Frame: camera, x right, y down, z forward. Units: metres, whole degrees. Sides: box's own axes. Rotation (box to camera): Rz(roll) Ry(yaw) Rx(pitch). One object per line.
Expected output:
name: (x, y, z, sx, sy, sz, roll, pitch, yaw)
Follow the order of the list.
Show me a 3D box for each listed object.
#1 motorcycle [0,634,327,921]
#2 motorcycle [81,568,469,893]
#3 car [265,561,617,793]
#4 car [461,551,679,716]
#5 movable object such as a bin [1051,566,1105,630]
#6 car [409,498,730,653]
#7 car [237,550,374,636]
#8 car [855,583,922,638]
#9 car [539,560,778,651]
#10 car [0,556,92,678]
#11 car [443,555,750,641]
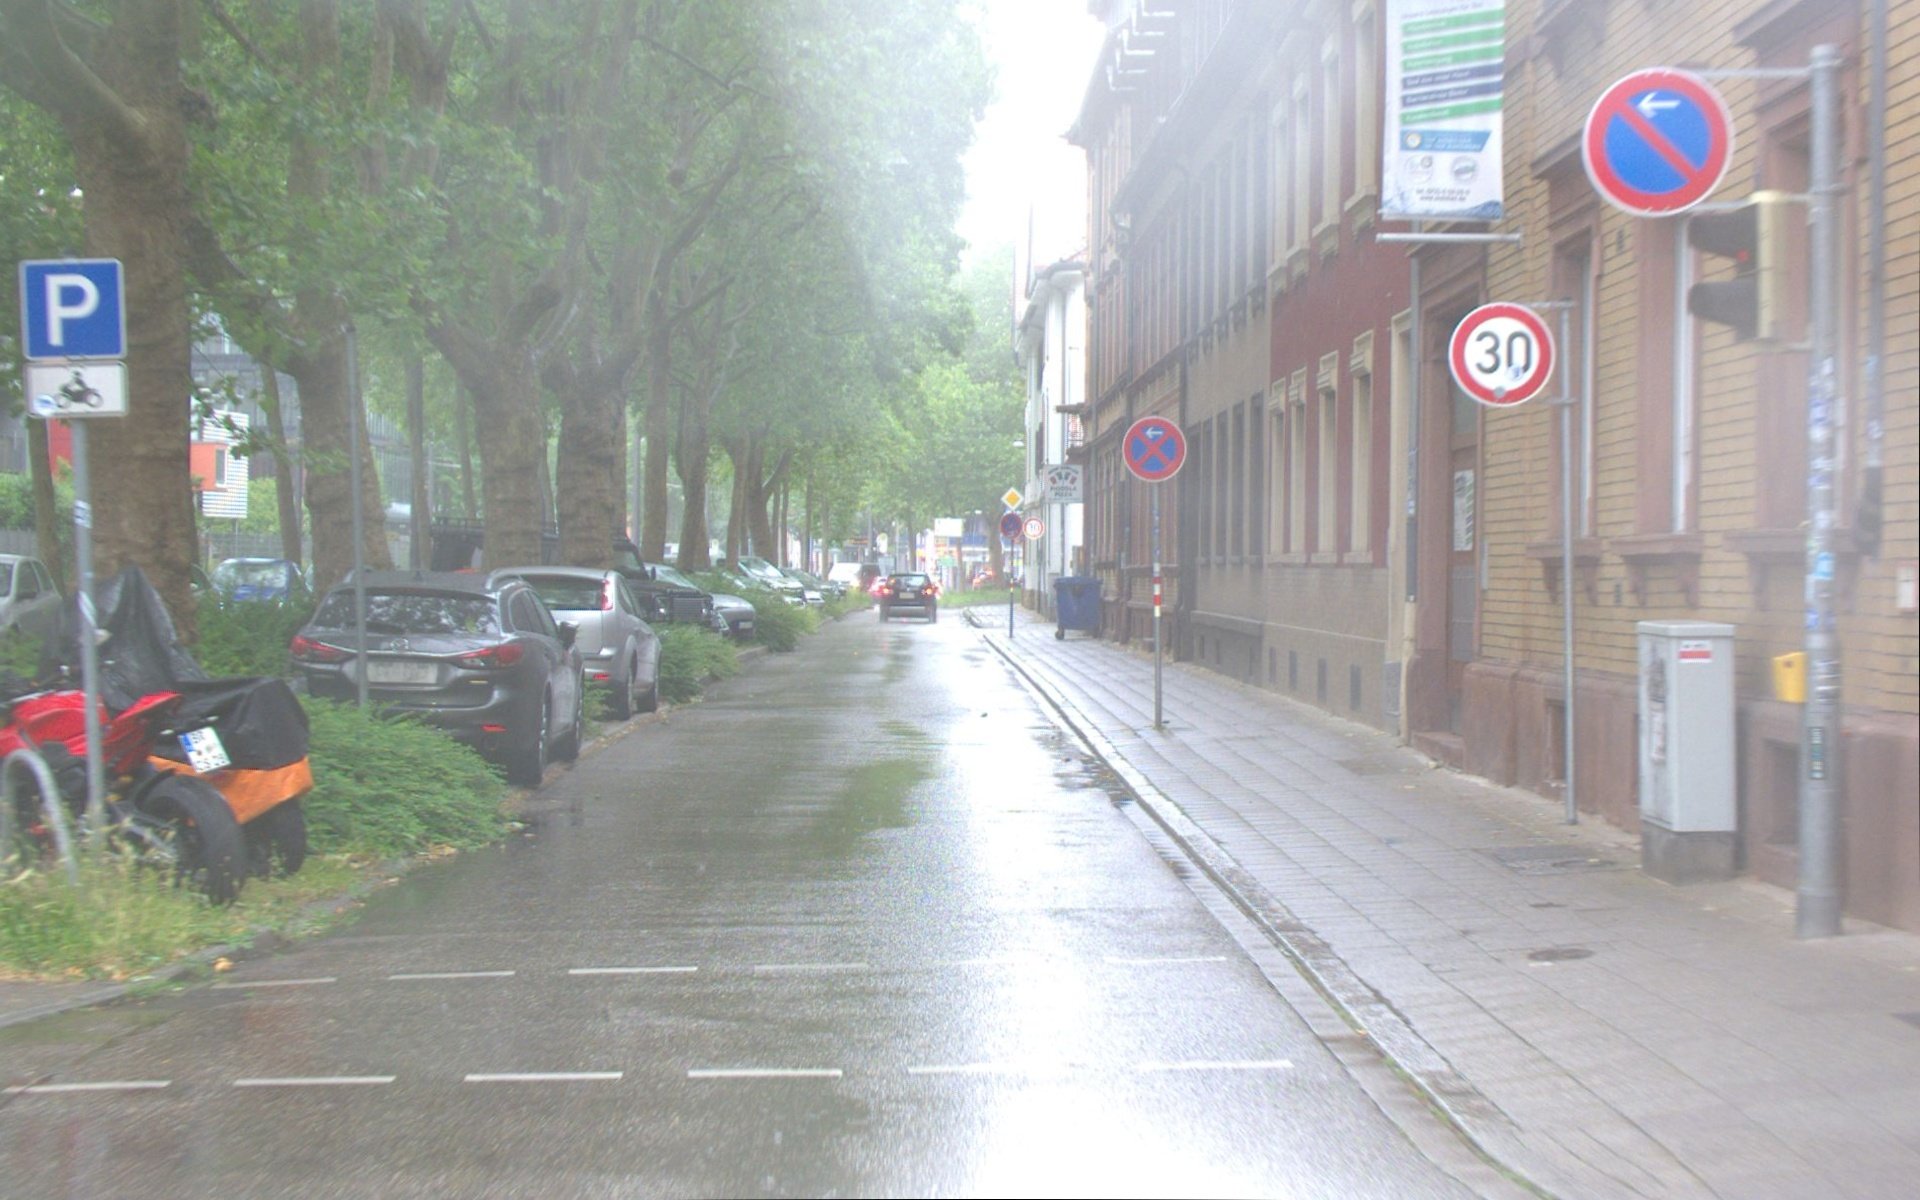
motorcycle: (-3.994, 0.793, 16.198, 2.141, 1.205, 0.867, 2, 0, 44)
motorcycle: (-3.454, 0.616, 17.222, 2.108, 1.495, 0.769, 2, 0, 43)
car: (-3.702, 0.490, 25.314, 1.896, 1.480, 4.621, 2, 1, -1)
car: (-3.896, 0.300, 34.916, 1.729, 1.509, 4.207, 2, 1, -1)
movable object such as a bin: (2.505, -0.045, 72.912, 1.021, 1.297, 1.367, -3, 1, -1)
car: (-5.988, -0.389, 52.509, 4.654, 2.275, 2.008, 1, 0, 33)
car: (-12.352, -0.154, 65.100, 1.904, 1.529, 4.216, 1, 1, -2)
car: (-2.226, 0.329, 107.546, 1.993, 1.634, 4.000, 2, 0, -1)
car: (-5.594, 0.085, 63.636, 4.059, 1.532, 1.832, 2, 1, 30)
car: (-13.013, 0.186, 45.861, 1.904, 1.529, 4.216, 1, 1, -2)
car: (-5.859, -0.047, 55.312, 4.652, 1.321, 1.844, 1, 0, 27)
